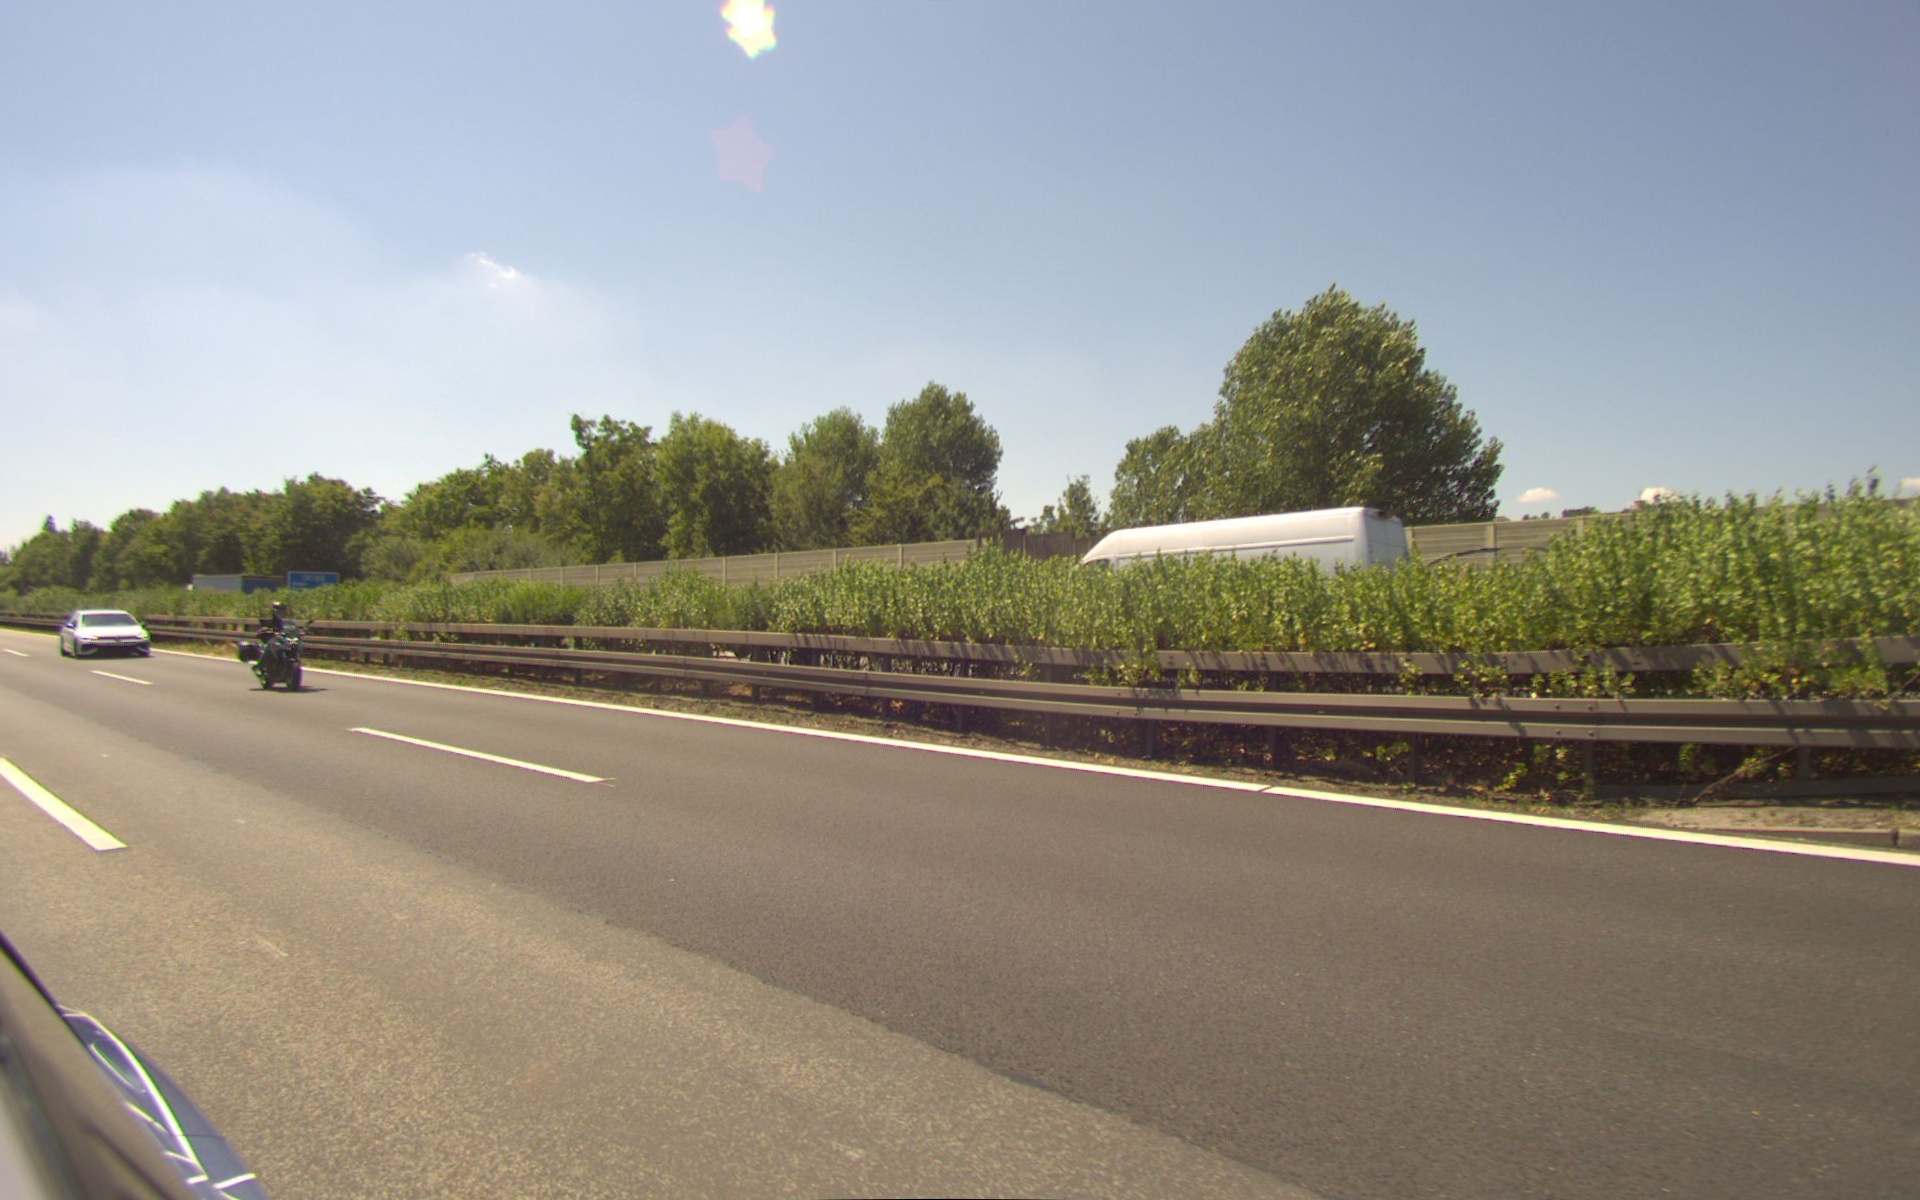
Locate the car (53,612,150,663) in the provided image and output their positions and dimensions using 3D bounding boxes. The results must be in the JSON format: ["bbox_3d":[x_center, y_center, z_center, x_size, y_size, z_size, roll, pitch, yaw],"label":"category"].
[{"bbox_3d":[-26.750,1.117,31.472,4.668,1.451,1.762,-1,-1,43],"label":"car"}]

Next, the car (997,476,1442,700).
[{"bbox_3d":[3.698,-0.111,15.404,6.215,2.779,2.218,-1,-1,40],"label":"car"}]

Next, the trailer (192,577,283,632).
[{"bbox_3d":[-54.481,0.384,76.097,13.670,3.881,2.677,-1,-1,42],"label":"trailer"}]

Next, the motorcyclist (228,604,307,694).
[{"bbox_3d":[-12.975,0.880,18.953,1.298,1.609,0.884,0,1,39],"label":"motorcyclist"}]

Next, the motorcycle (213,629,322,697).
[{"bbox_3d":[-13.014,1.140,18.978,2.846,1.097,0.904,0,0,39],"label":"motorcycle"}]
